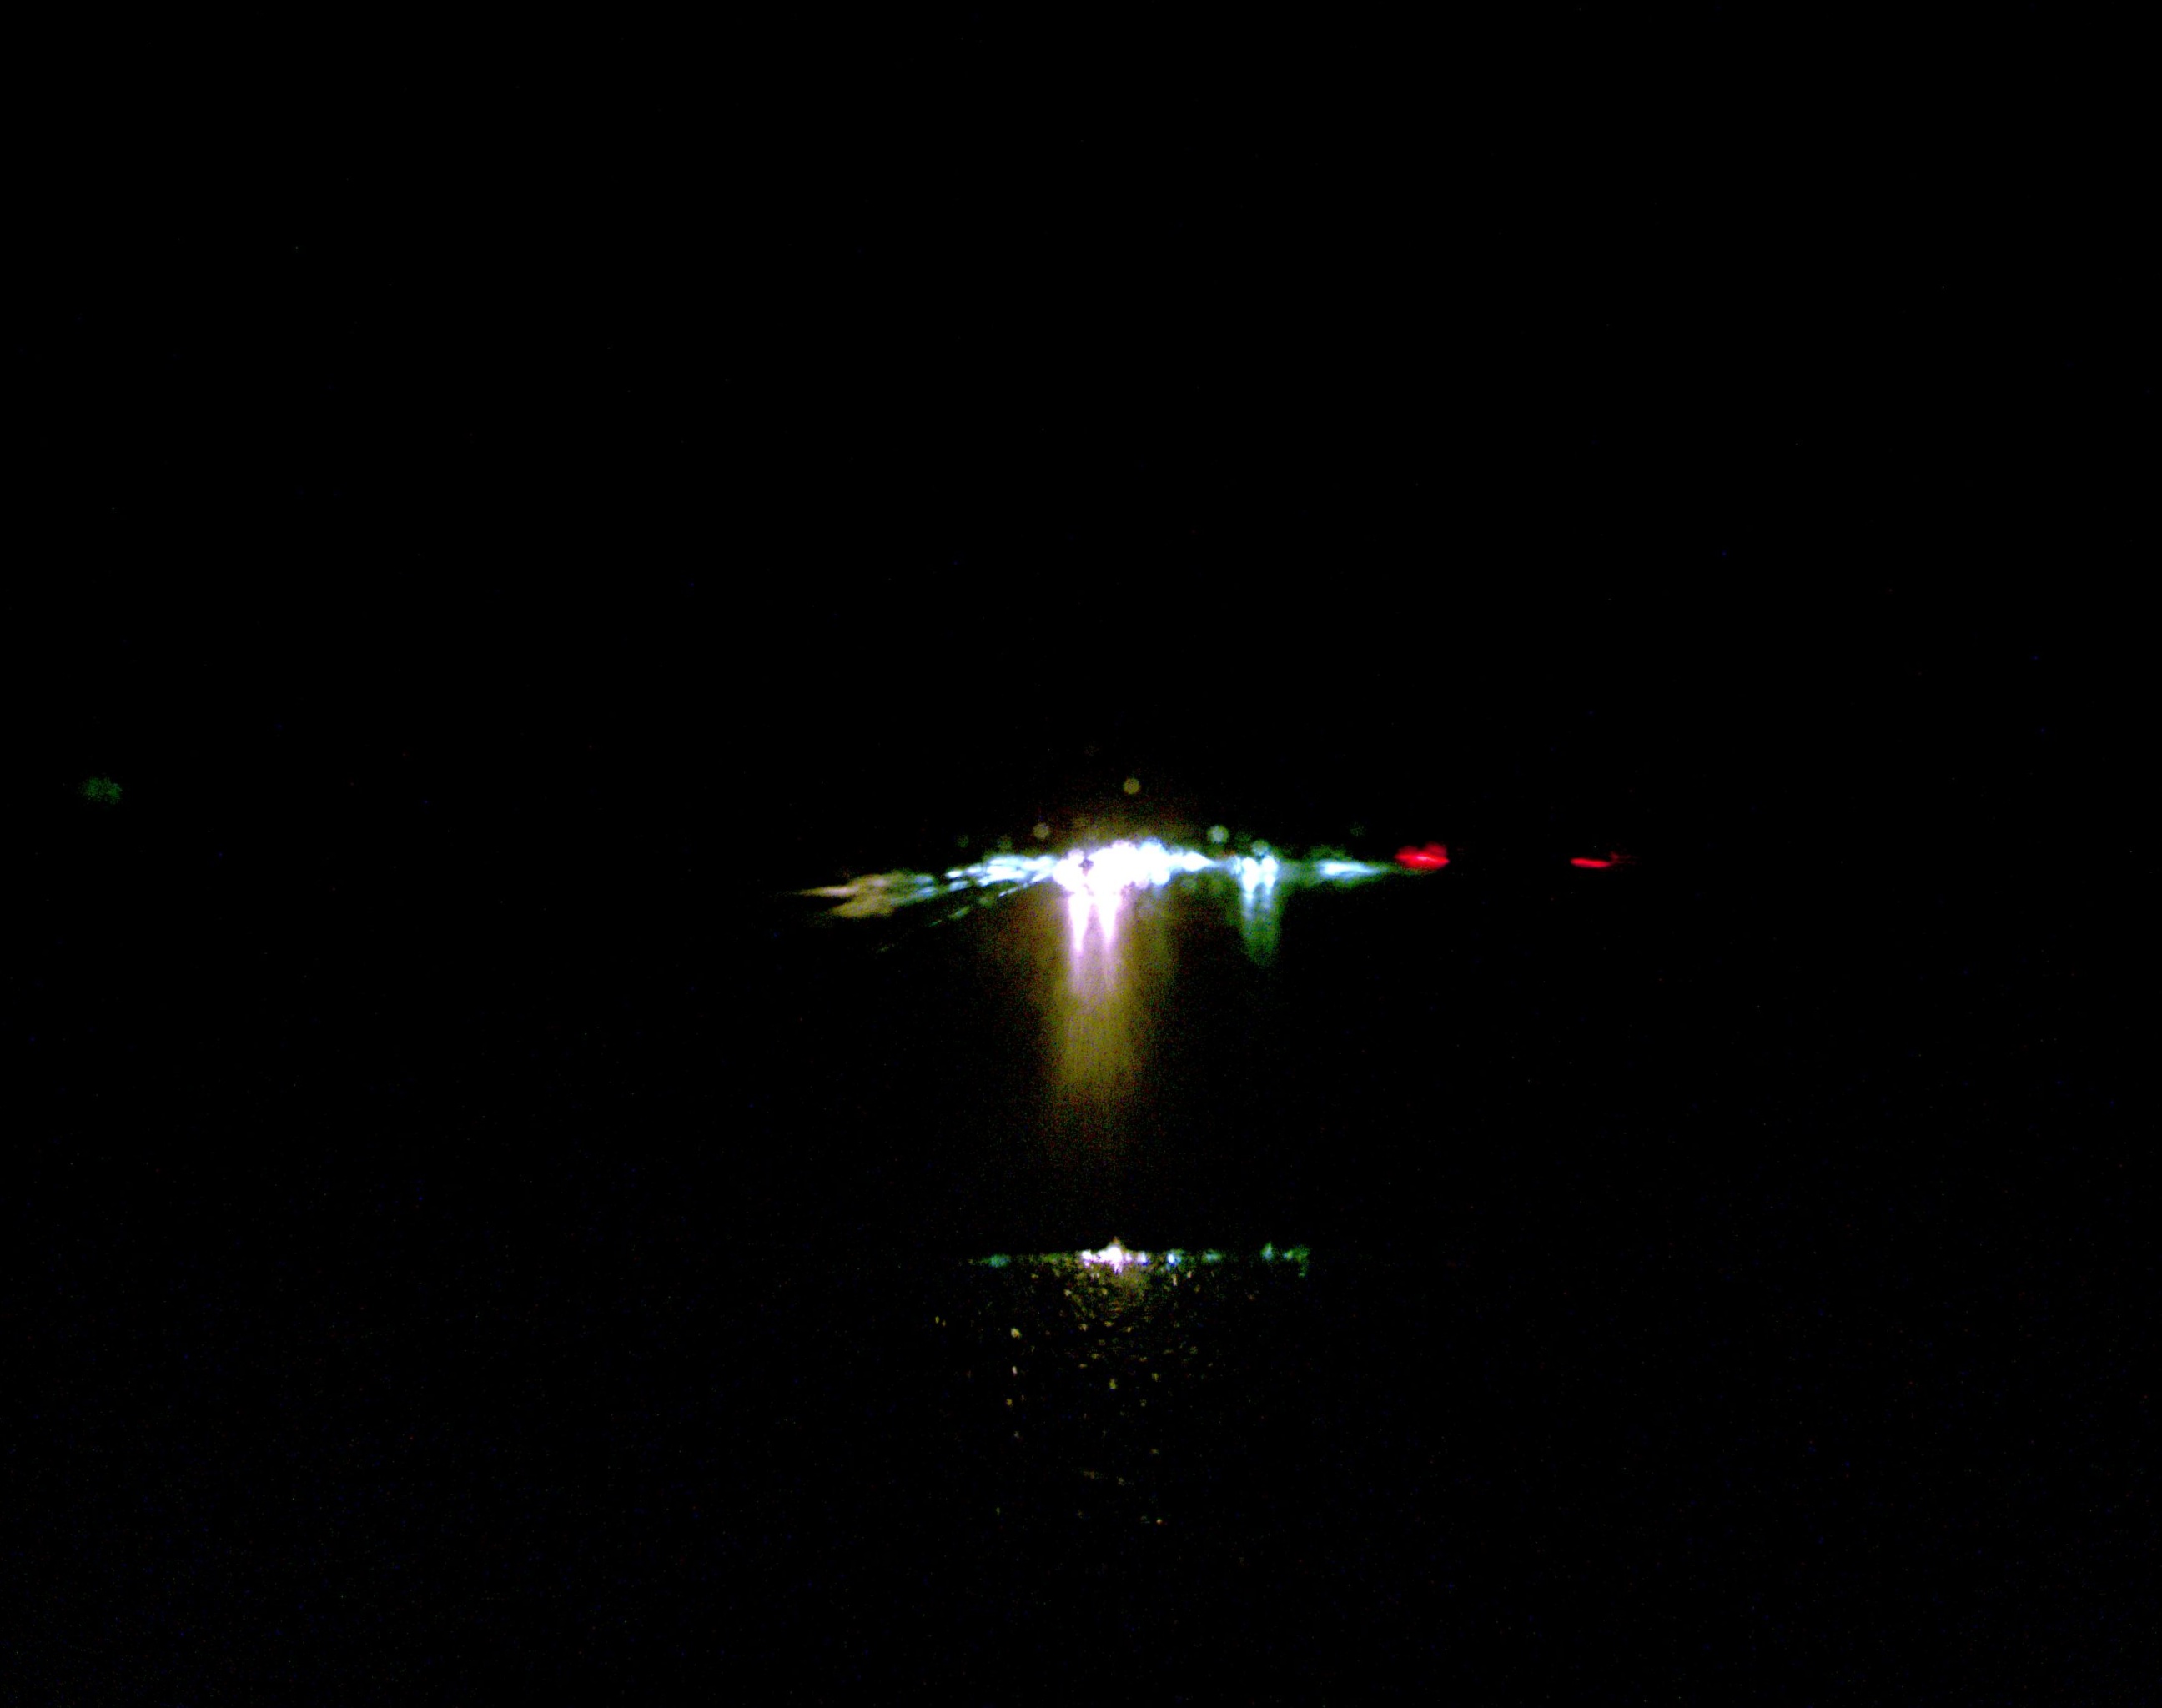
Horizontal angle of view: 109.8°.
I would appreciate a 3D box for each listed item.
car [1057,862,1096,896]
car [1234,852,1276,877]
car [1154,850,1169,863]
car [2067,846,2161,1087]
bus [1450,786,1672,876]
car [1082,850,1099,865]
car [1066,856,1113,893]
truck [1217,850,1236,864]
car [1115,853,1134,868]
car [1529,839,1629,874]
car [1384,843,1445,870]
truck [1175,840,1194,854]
[{"bbox_3d":[-0.154,1.022,32.576,1.525,1.256,3.369,-3,1,1],"label":"car"},{"bbox_3d":[12.192,0.719,53.490,1.998,1.551,4.588,-3,0,1],"label":"car"},{"bbox_3d":[12.747,0.379,120.123,1.998,1.797,4.000,-3,1,2],"label":"car"},{"bbox_3d":[7.467,0.661,2.986,1.998,1.433,4.000,-3,1,1],"label":"car"},{"bbox_3d":[28.708,-1.260,47.383,3.082,4.464,17.011,-3,0,0],"label":"bus"},{"bbox_3d":[1.016,0.375,82.260,1.813,1.477,3.582,-3,1,0],"label":"car"},{"bbox_3d":[0.428,0.951,35.370,1.998,1.542,4.001,-3,-2,1],"label":"car"},{"bbox_3d":[25.978,0.435,135.862,1.998,2.333,6.438,-3,1,0],"label":"truck"},{"bbox_3d":[5.108,0.709,89.087,1.998,1.551,4.588,-3,0,1],"label":"car"},{"bbox_3d":[24.152,0.106,37.078,1.884,1.548,4.460,-3,0,0],"label":"car"},{"bbox_3d":[21.176,0.152,48.394,1.884,1.548,4.460,-3,0,0],"label":"car"},{"bbox_3d":[30.615,-1.998,224.748,3.508,3.865,17.180,-3,0,1],"label":"truck"}]
